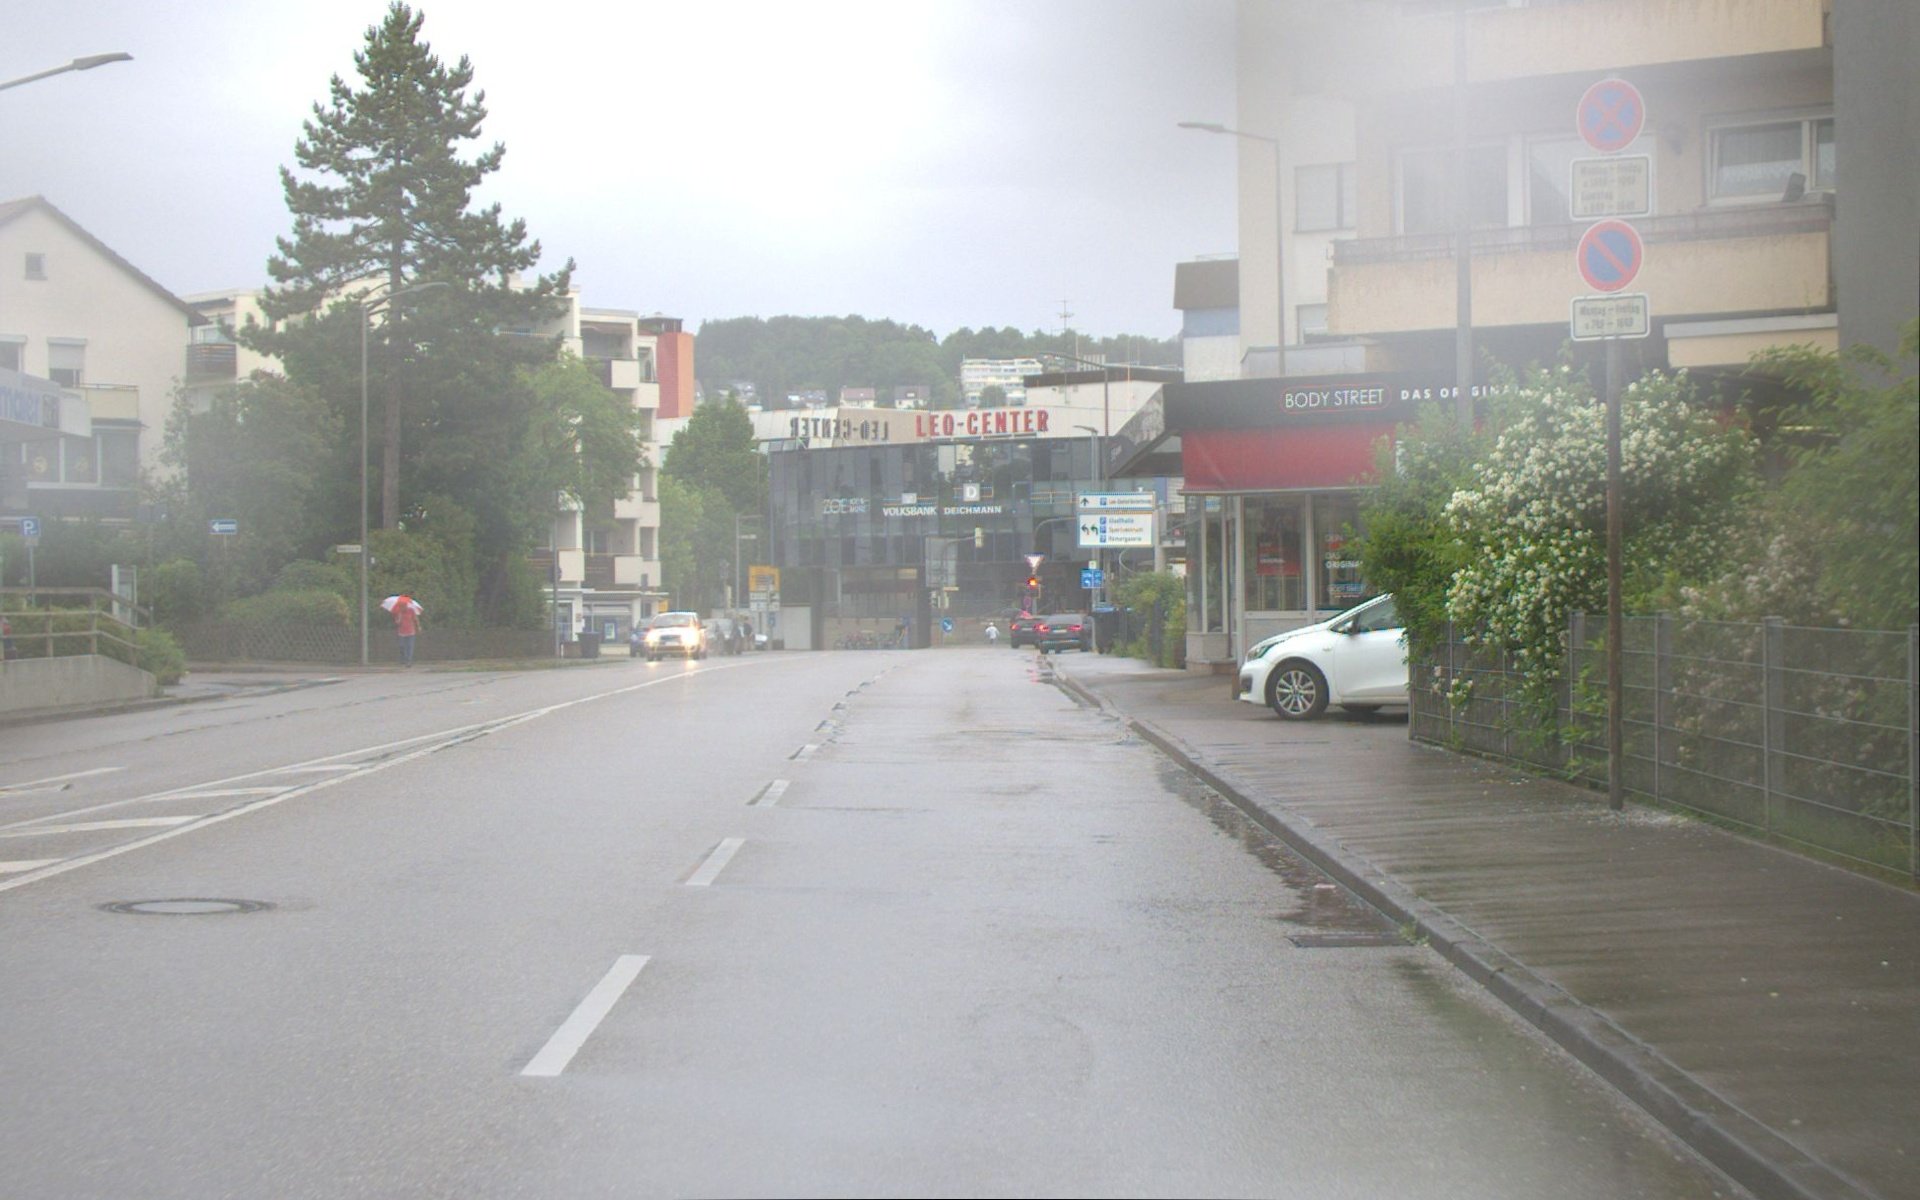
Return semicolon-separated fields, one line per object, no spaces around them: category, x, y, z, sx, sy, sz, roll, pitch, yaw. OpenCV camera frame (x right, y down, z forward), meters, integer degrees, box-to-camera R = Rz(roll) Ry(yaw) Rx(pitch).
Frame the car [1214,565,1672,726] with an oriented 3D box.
car;4.926;0.424;35.184;4.264;1.489;1.870;1;2;29

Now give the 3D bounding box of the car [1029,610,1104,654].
car;4.037;1.229;129.670;1.994;1.528;4.644;1;-2;12

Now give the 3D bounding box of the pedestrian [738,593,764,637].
pedestrian;-9.761;0.693;160.247;0.749;2.007;0.920;3;-1;24

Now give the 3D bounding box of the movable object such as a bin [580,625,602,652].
movable object such as a bin;-13.070;1.369;121.720;0.648;0.962;0.682;-1;-1;3

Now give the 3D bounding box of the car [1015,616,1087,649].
car;3.966;1.392;149.094;1.806;1.414;3.995;-1;-1;22

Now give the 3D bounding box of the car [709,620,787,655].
car;-11.011;1.913;178.149;1.993;1.507;4.433;3;1;-34

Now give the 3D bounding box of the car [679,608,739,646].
car;-10.388;1.128;142.446;1.934;1.536;4.272;0;0;3

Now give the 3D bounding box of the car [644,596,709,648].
car;-8.628;0.655;104.760;1.697;1.404;4.000;-3;1;-2

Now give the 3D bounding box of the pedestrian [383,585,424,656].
pedestrian;-12.691;0.464;78.435;0.869;1.601;1.103;0;-1;-6

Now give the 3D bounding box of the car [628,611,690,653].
car;-11.010;1.159;125.867;1.652;1.516;4.324;0;0;3
